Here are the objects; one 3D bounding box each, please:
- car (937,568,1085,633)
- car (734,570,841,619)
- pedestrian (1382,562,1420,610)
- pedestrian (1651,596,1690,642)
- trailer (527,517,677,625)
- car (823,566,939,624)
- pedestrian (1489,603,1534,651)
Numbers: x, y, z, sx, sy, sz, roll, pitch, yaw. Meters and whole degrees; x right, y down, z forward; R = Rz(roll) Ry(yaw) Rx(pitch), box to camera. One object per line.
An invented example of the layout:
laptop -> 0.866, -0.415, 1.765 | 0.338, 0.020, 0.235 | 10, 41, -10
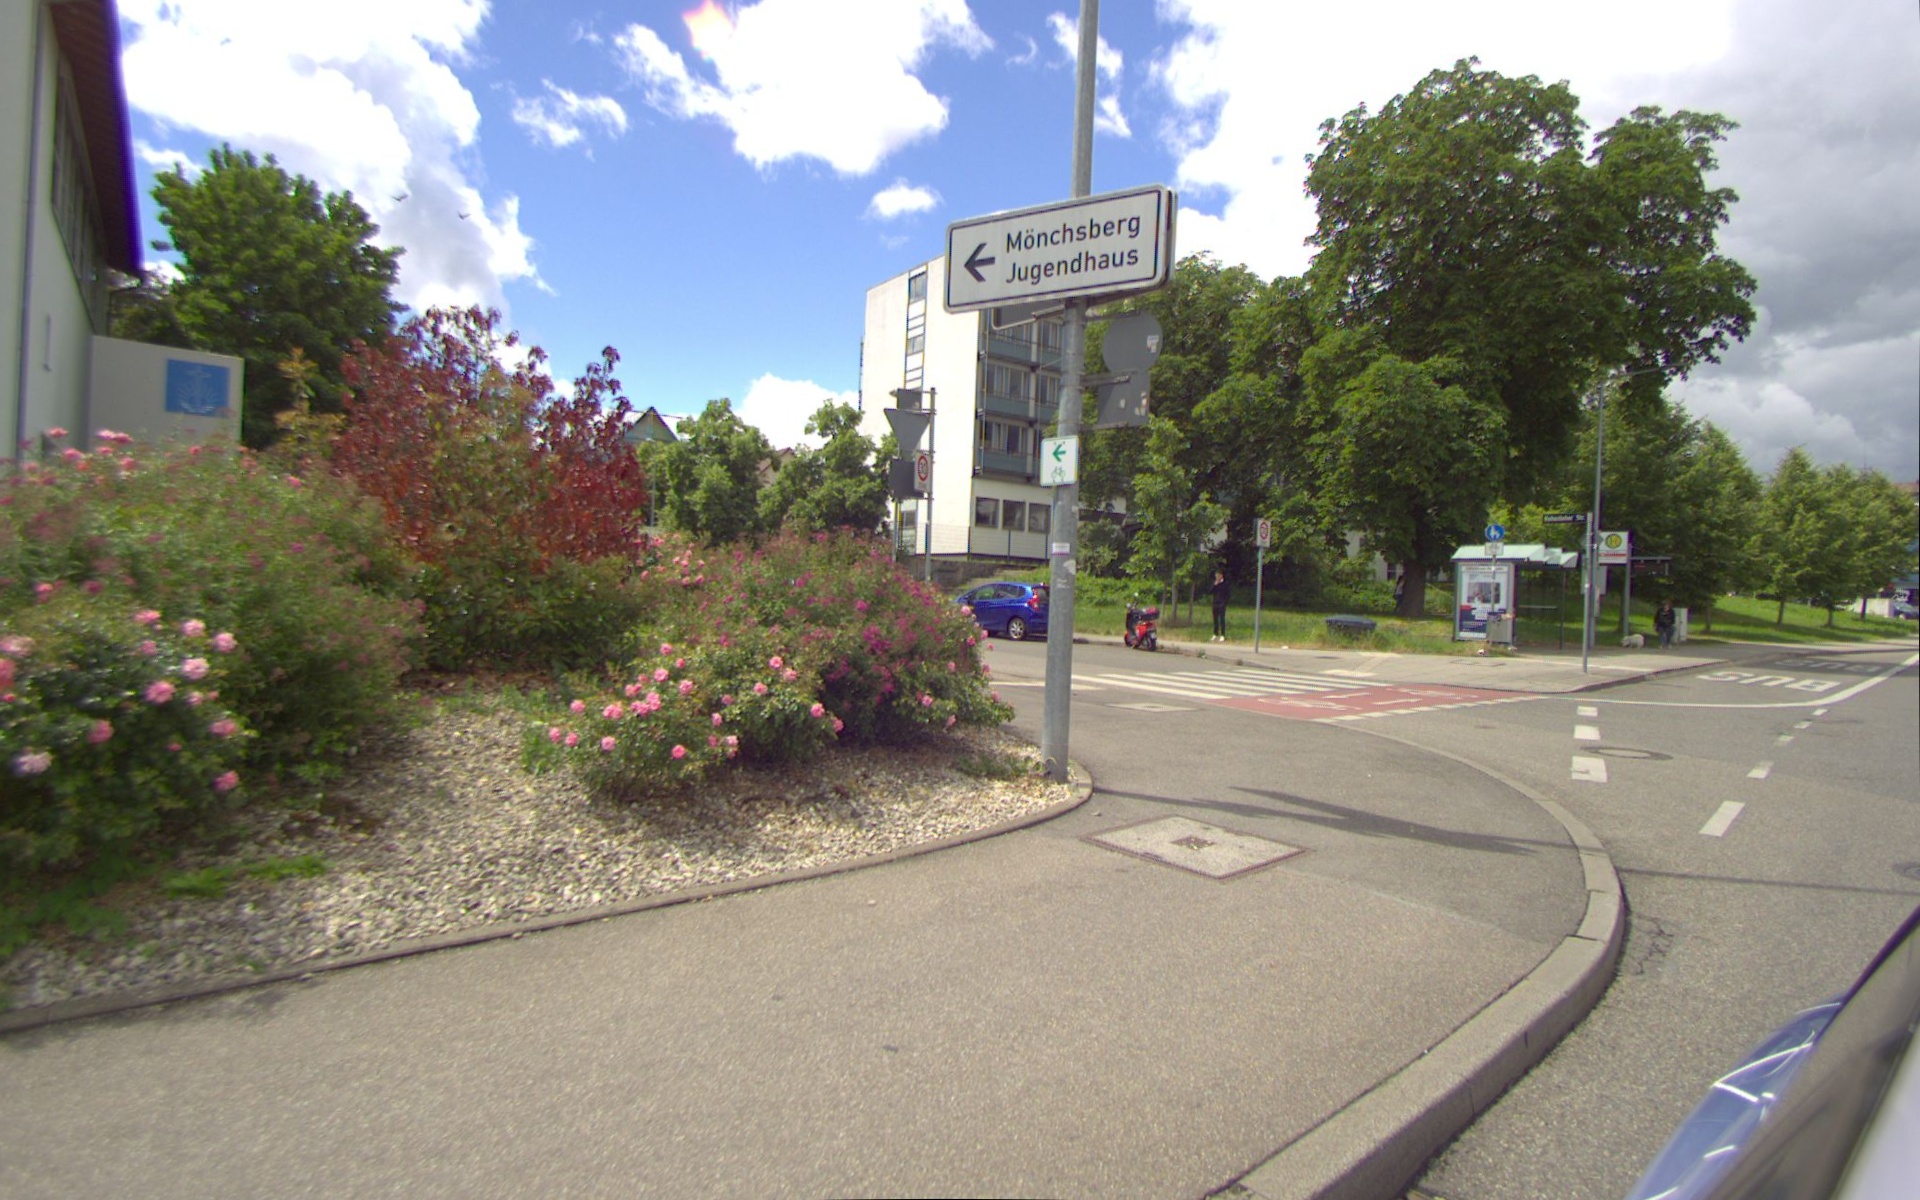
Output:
car -> 1.331, -0.010, 27.457 | 1.862, 1.474, 3.802 | 3, 1, -40
car -> -6.306, -0.212, 36.681 | 1.965, 1.579, 4.086 | 2, 1, -41
pedestrian -> 16.744, -0.539, 38.441 | 0.841, 1.782, 0.990 | 1, 1, -28
pedestrian -> 23.349, 0.608, 33.248 | 0.814, 1.442, 0.822 | 1, 1, -38
trailer -> -9.418, -0.723, 26.408 | 2.181, 2.519, 4.547 | 3, -1, -39
car -> -2.550, -0.176, 32.109 | 1.797, 1.664, 3.694 | 3, -1, -40
pedestrian -> 15.006, 0.731, 27.539 | 0.673, 1.274, 0.830 | 2, 0, -35
